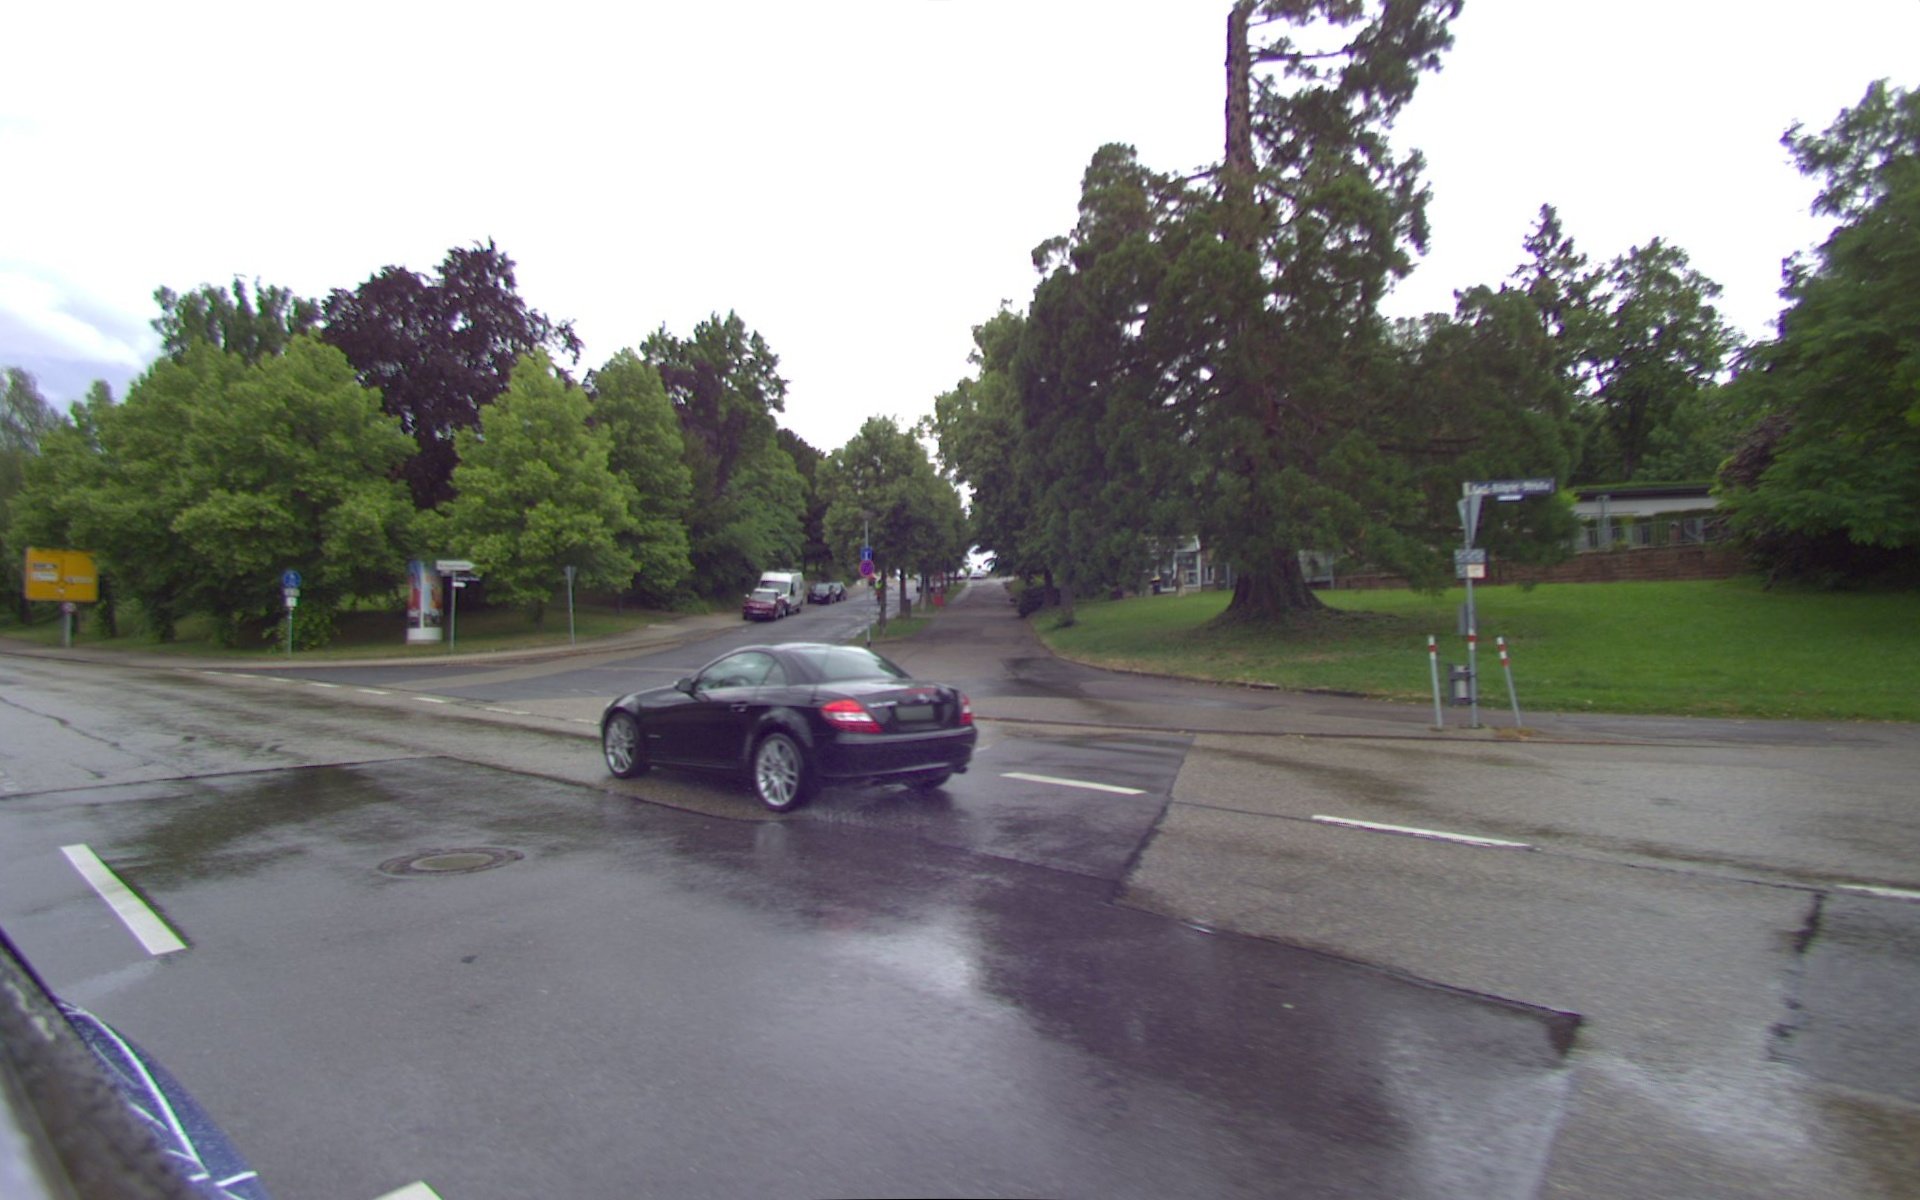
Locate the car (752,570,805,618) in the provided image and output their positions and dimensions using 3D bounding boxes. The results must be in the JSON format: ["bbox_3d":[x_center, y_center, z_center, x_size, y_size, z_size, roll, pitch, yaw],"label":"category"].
[{"bbox_3d":[-10.705,-0.336,60.001,2.127,2.720,5.670,0,0,0],"label":"car"}]

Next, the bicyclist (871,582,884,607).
[{"bbox_3d":[-5.922,-0.404,72.979,0.841,1.769,1.287,2,-1,-6],"label":"bicyclist"}]

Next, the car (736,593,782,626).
[{"bbox_3d":[-10.772,0.494,54.488,1.948,1.681,4.004,0,0,-4],"label":"car"}]

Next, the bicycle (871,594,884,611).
[{"bbox_3d":[-5.938,0.165,72.941,0.841,1.164,2.040,2,-1,-6],"label":"bicycle"}]

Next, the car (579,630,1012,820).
[{"bbox_3d":[-1.629,0.967,9.049,4.083,1.316,1.643,-2,-5,43],"label":"car"}]

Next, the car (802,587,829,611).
[{"bbox_3d":[-10.598,-0.063,74.414,1.799,1.681,4.005,0,0,-6],"label":"car"}]

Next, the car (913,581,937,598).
[{"bbox_3d":[-3.519,-1.086,102.161,1.853,1.682,4.196,-1,1,6],"label":"car"}]
